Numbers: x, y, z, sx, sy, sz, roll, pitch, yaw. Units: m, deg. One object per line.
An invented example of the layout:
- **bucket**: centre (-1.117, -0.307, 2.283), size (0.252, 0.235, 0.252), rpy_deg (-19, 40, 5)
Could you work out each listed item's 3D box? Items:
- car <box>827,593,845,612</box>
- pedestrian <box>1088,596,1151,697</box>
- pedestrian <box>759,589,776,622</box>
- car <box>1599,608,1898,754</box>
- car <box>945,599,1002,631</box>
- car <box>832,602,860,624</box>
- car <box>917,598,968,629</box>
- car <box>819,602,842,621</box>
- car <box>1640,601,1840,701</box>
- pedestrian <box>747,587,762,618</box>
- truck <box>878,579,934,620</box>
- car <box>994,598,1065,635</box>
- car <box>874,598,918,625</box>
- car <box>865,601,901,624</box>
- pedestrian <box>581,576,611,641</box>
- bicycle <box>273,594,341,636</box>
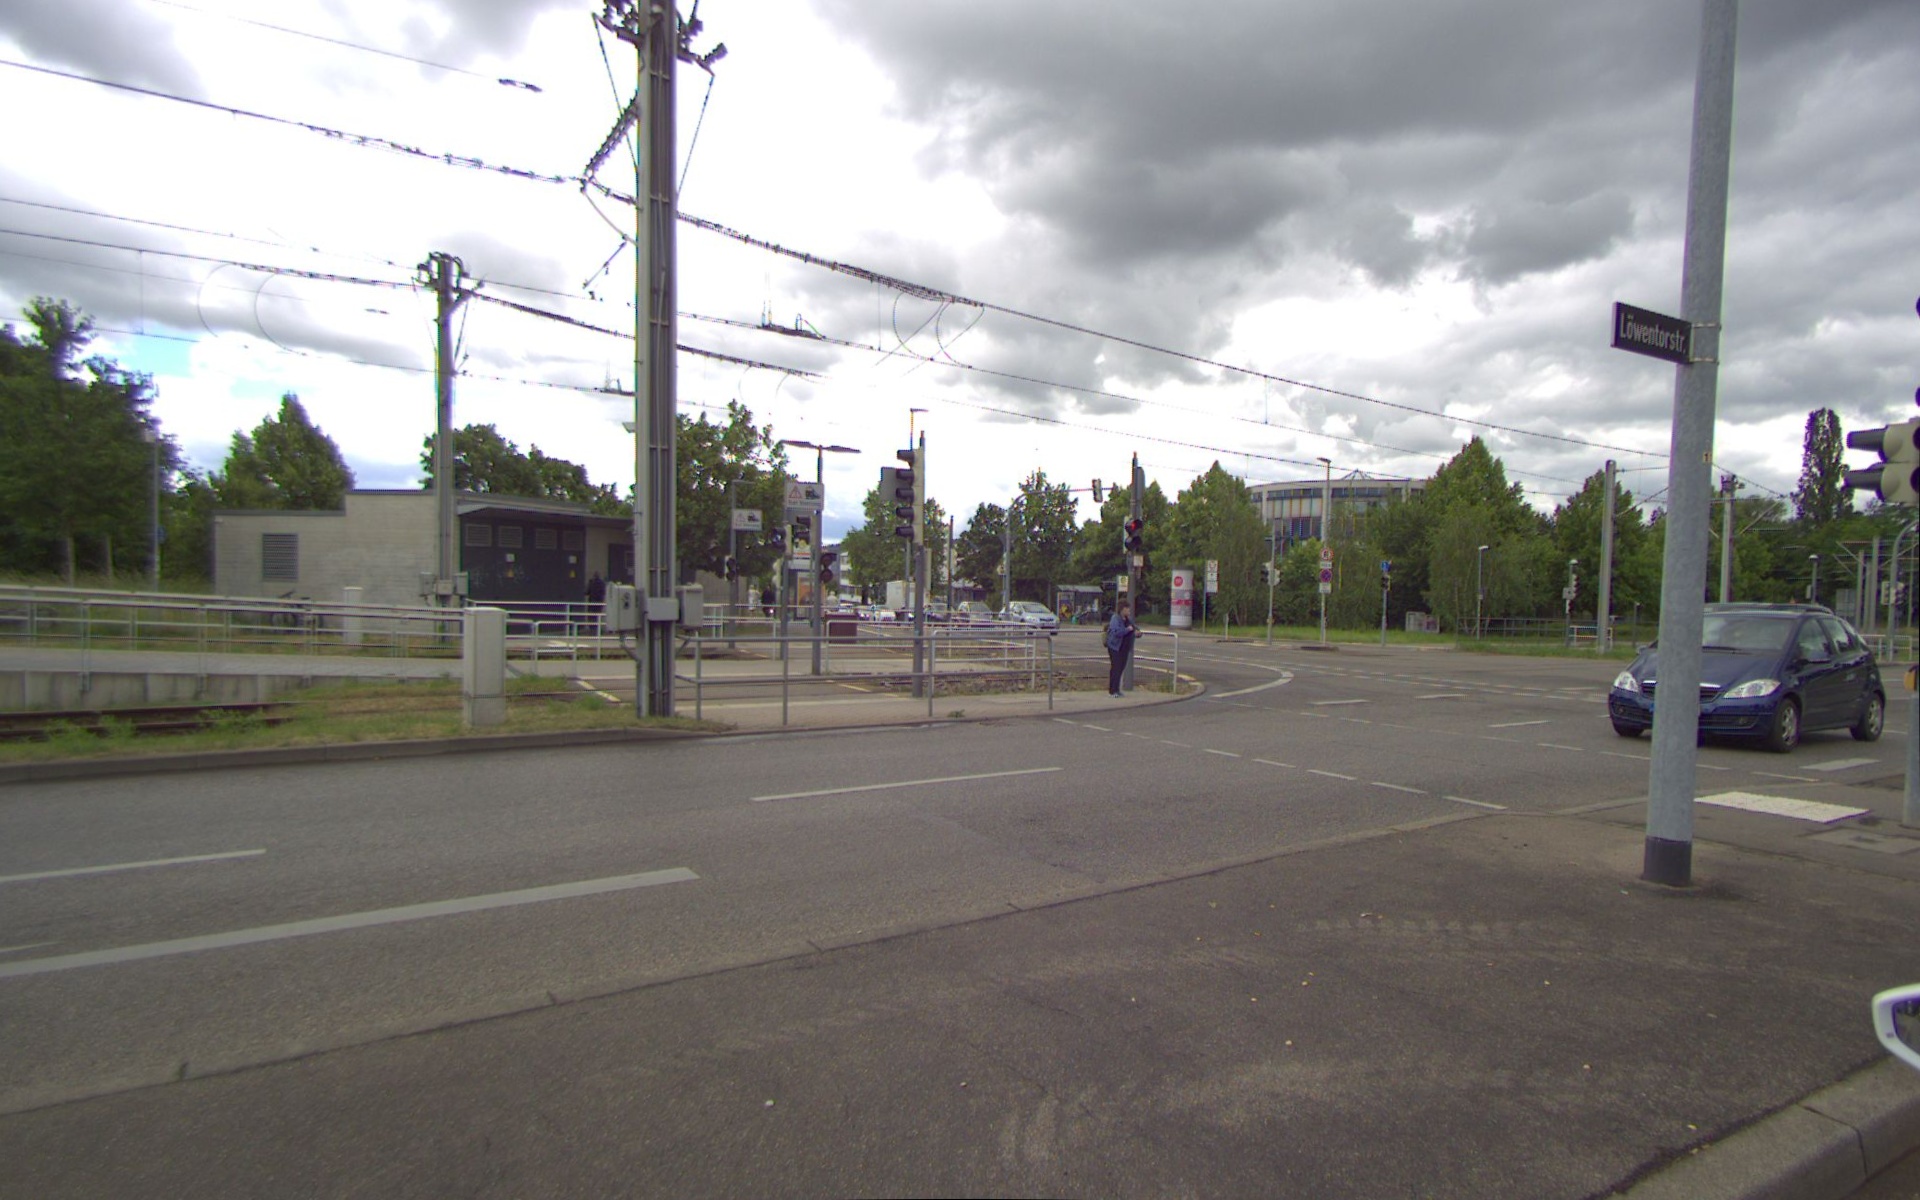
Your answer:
- **car**: centre (-14.614, 0.283, 118.107), size (1.964, 2.218, 5.800), rpy_deg (1, 0, -9)
- **pedestrian**: centre (2.548, 0.727, 16.062), size (0.712, 1.557, 0.630), rpy_deg (2, 0, -33)
- **pedestrian**: centre (-8.375, 0.235, 43.760), size (0.590, 1.377, 0.616), rpy_deg (2, 0, 1)
- **car**: centre (9.778, 0.896, 12.423), size (3.618, 1.529, 1.727), rpy_deg (1, 0, -31)
- **car**: centre (0.671, 0.789, 53.864), size (1.776, 1.617, 3.982), rpy_deg (2, 0, -20)
- **car**: centre (-9.938, 1.122, 87.496), size (1.869, 1.805, 3.988), rpy_deg (1, 0, -14)
- **car**: centre (-1.060, 0.756, 58.038), size (1.776, 1.617, 3.982), rpy_deg (2, 0, -20)
- **car**: centre (-12.818, 1.094, 99.149), size (1.869, 1.805, 3.990), rpy_deg (1, 0, -13)
- **car**: centre (16.228, 0.995, 20.807), size (5.041, 1.836, 1.875), rpy_deg (1, -1, -35)
- **pedestrian**: centre (-10.317, 0.136, 50.384), size (0.633, 1.557, 0.521), rpy_deg (2, 0, -2)
- **truck**: centre (-5.216, -0.064, 94.897), size (2.968, 3.580, 9.247), rpy_deg (1, 0, -17)
- **car**: centre (3.201, 0.729, 46.898), size (1.848, 1.617, 3.982), rpy_deg (2, 0, -20)
- **car**: centre (-4.146, 0.692, 64.574), size (1.776, 1.617, 3.982), rpy_deg (2, 0, -20)
- **car**: centre (-5.761, 0.920, 74.897), size (1.775, 1.617, 3.985), rpy_deg (2, 0, -17)
- **pedestrian**: centre (-9.940, 0.227, 27.439), size (0.700, 1.751, 0.674), rpy_deg (2, 0, -19)
- **bicycle**: centre (-17.363, 0.387, 26.700), size (1.778, 1.045, 0.536), rpy_deg (2, 0, 21)
